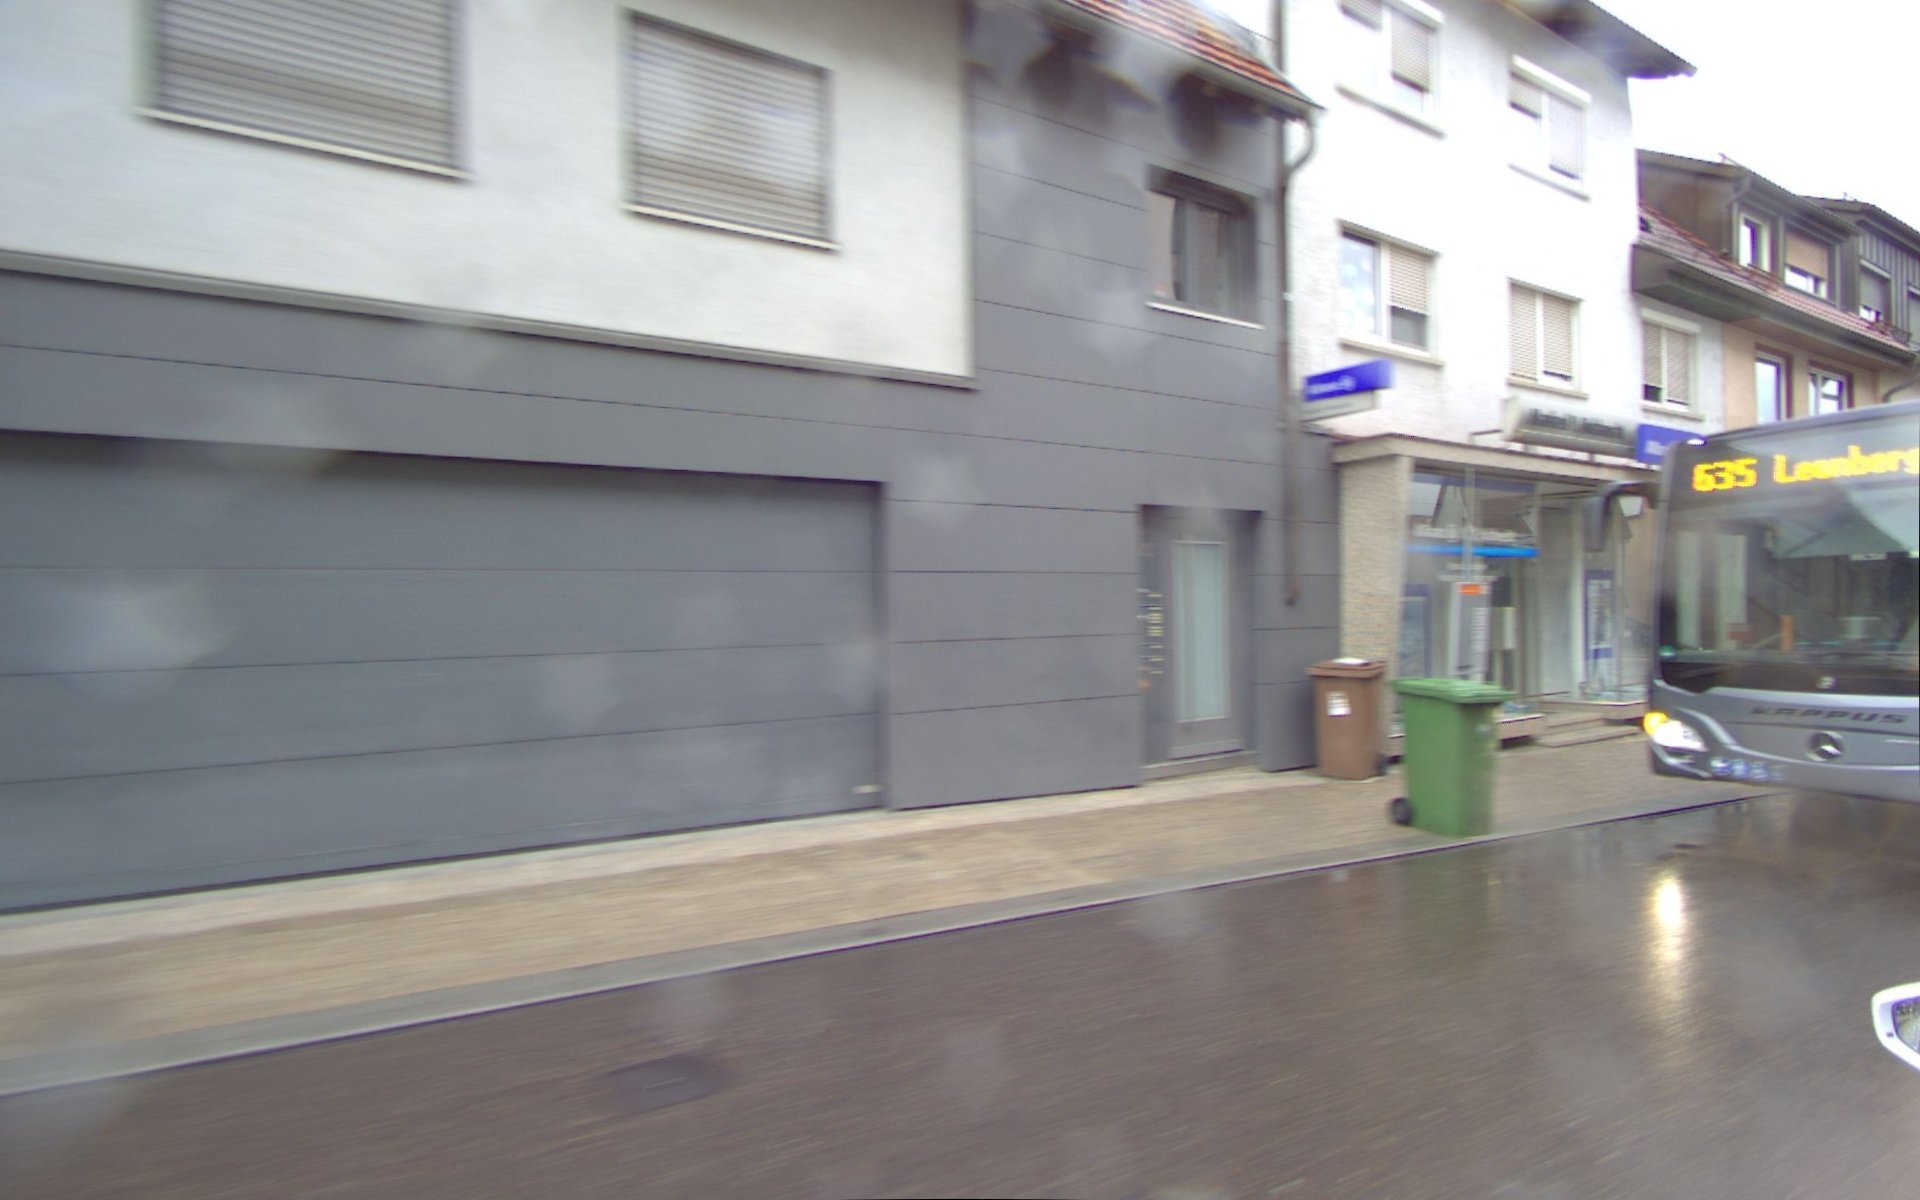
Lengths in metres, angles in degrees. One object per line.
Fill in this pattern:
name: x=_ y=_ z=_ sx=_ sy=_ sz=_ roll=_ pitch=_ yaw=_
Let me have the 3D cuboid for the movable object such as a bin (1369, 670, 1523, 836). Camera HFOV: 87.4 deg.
movable object such as a bin: x=3.536 y=1.075 z=7.323 sx=0.718 sy=1.073 sz=0.737 roll=1 pitch=-1 yaw=-32

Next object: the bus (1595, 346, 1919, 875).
bus: x=10.174 y=0.128 z=8.950 sx=10.809 sy=3.121 sz=2.712 roll=1 pitch=0 yaw=-28

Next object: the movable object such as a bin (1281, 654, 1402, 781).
movable object such as a bin: x=3.549 y=1.064 z=9.367 sx=0.694 sy=1.073 sz=0.788 roll=1 pitch=-1 yaw=-32
